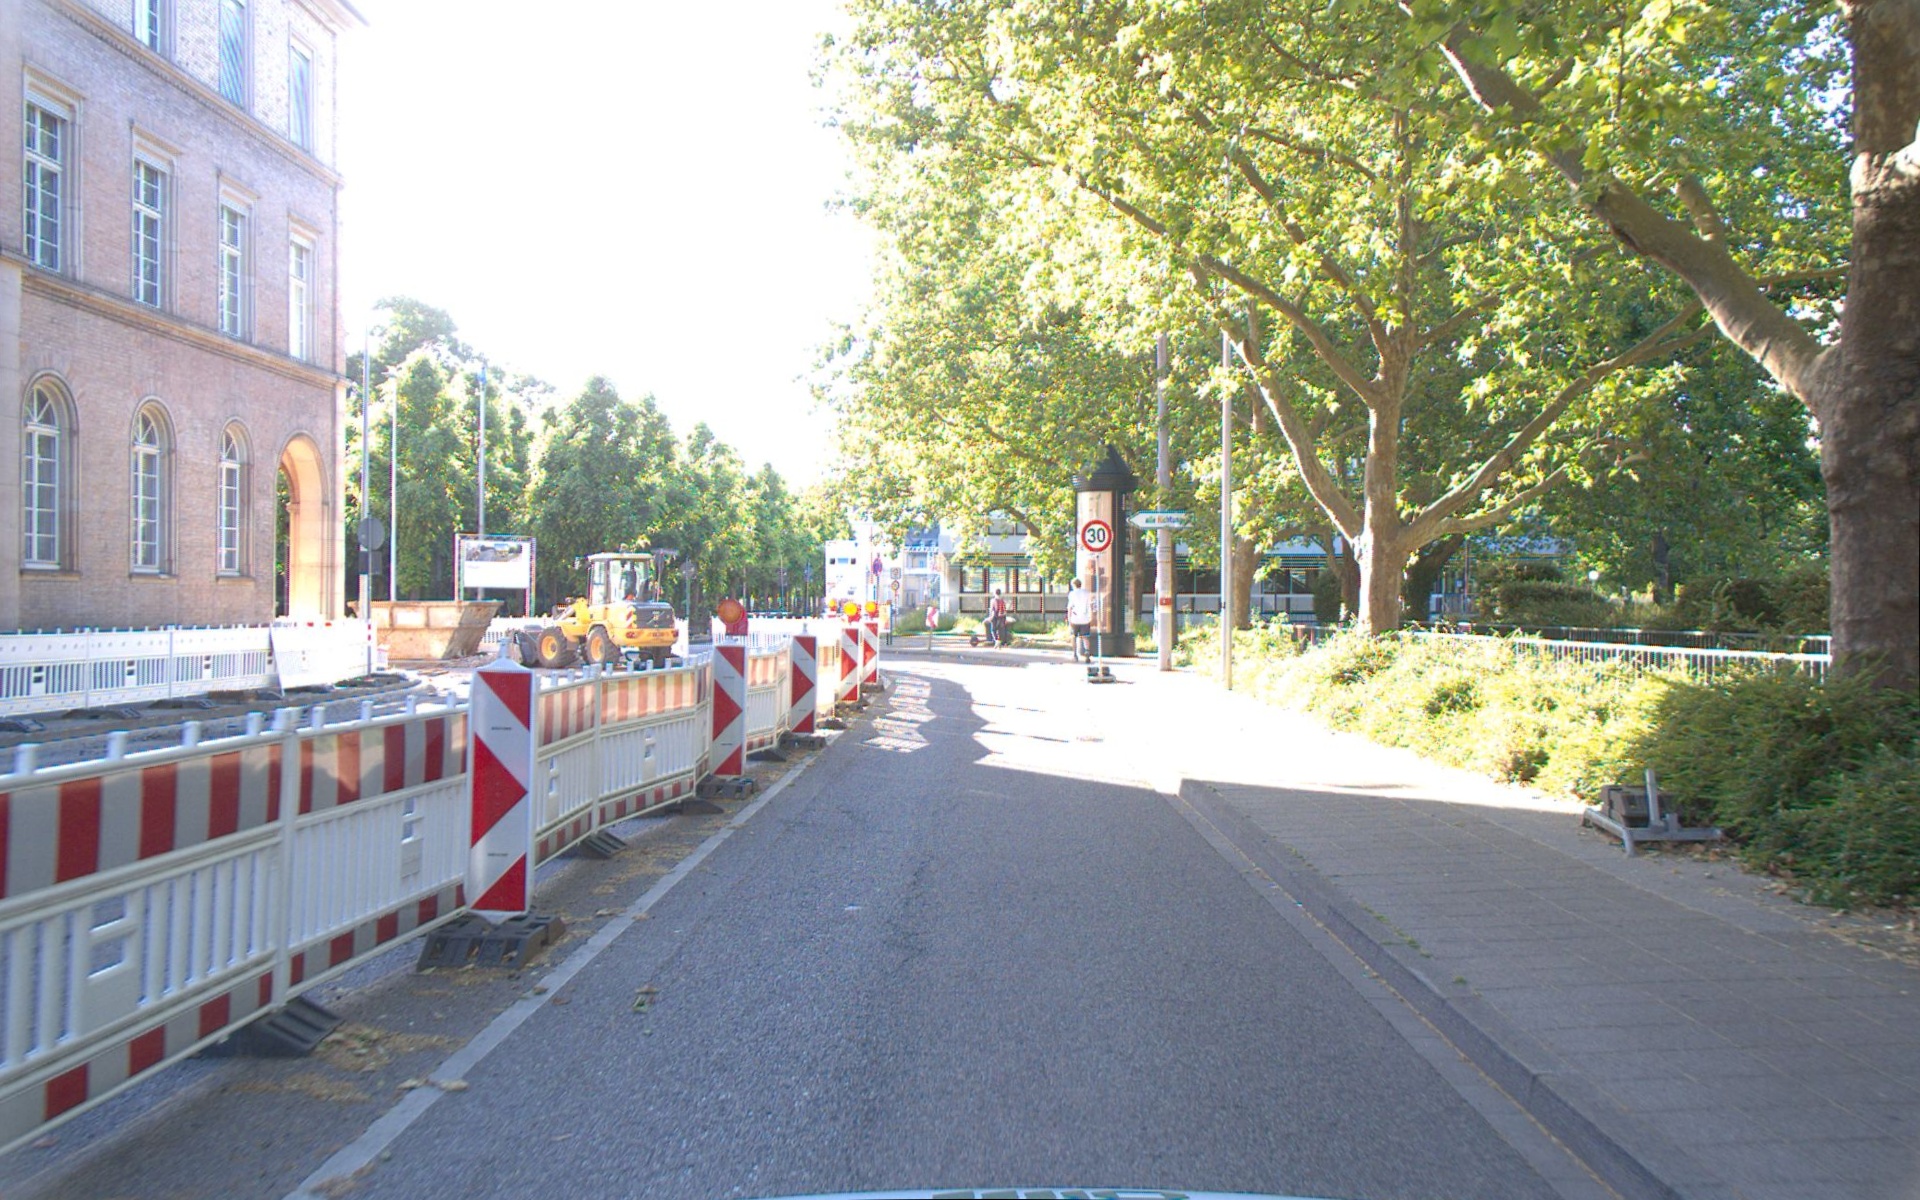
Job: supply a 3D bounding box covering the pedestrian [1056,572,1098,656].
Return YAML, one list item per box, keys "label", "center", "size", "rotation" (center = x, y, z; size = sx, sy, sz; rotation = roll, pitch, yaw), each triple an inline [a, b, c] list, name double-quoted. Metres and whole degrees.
- label: "pedestrian"
  center: [2.654, 0.311, 37.621]
  size: [0.730, 1.844, 1.133]
  rotation: [2, 0, -4]

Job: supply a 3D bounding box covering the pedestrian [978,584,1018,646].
- label: "pedestrian"
  center: [1.020, 0.413, 44.647]
  size: [0.701, 1.652, 0.929]
  rotation: [1, -1, -31]

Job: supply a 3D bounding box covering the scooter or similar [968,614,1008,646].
- label: "scooter or similar"
  center: [0.849, 0.892, 49.765]
  size: [1.125, 0.930, 0.419]
  rotation: [-1, -1, -8]

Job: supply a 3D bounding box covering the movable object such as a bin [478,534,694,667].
- label: "movable object such as a bin"
  center: [-9.434, 0.029, 41.395]
  size: [5.831, 3.084, 2.549]
  rotation: [-1, 0, 44]
